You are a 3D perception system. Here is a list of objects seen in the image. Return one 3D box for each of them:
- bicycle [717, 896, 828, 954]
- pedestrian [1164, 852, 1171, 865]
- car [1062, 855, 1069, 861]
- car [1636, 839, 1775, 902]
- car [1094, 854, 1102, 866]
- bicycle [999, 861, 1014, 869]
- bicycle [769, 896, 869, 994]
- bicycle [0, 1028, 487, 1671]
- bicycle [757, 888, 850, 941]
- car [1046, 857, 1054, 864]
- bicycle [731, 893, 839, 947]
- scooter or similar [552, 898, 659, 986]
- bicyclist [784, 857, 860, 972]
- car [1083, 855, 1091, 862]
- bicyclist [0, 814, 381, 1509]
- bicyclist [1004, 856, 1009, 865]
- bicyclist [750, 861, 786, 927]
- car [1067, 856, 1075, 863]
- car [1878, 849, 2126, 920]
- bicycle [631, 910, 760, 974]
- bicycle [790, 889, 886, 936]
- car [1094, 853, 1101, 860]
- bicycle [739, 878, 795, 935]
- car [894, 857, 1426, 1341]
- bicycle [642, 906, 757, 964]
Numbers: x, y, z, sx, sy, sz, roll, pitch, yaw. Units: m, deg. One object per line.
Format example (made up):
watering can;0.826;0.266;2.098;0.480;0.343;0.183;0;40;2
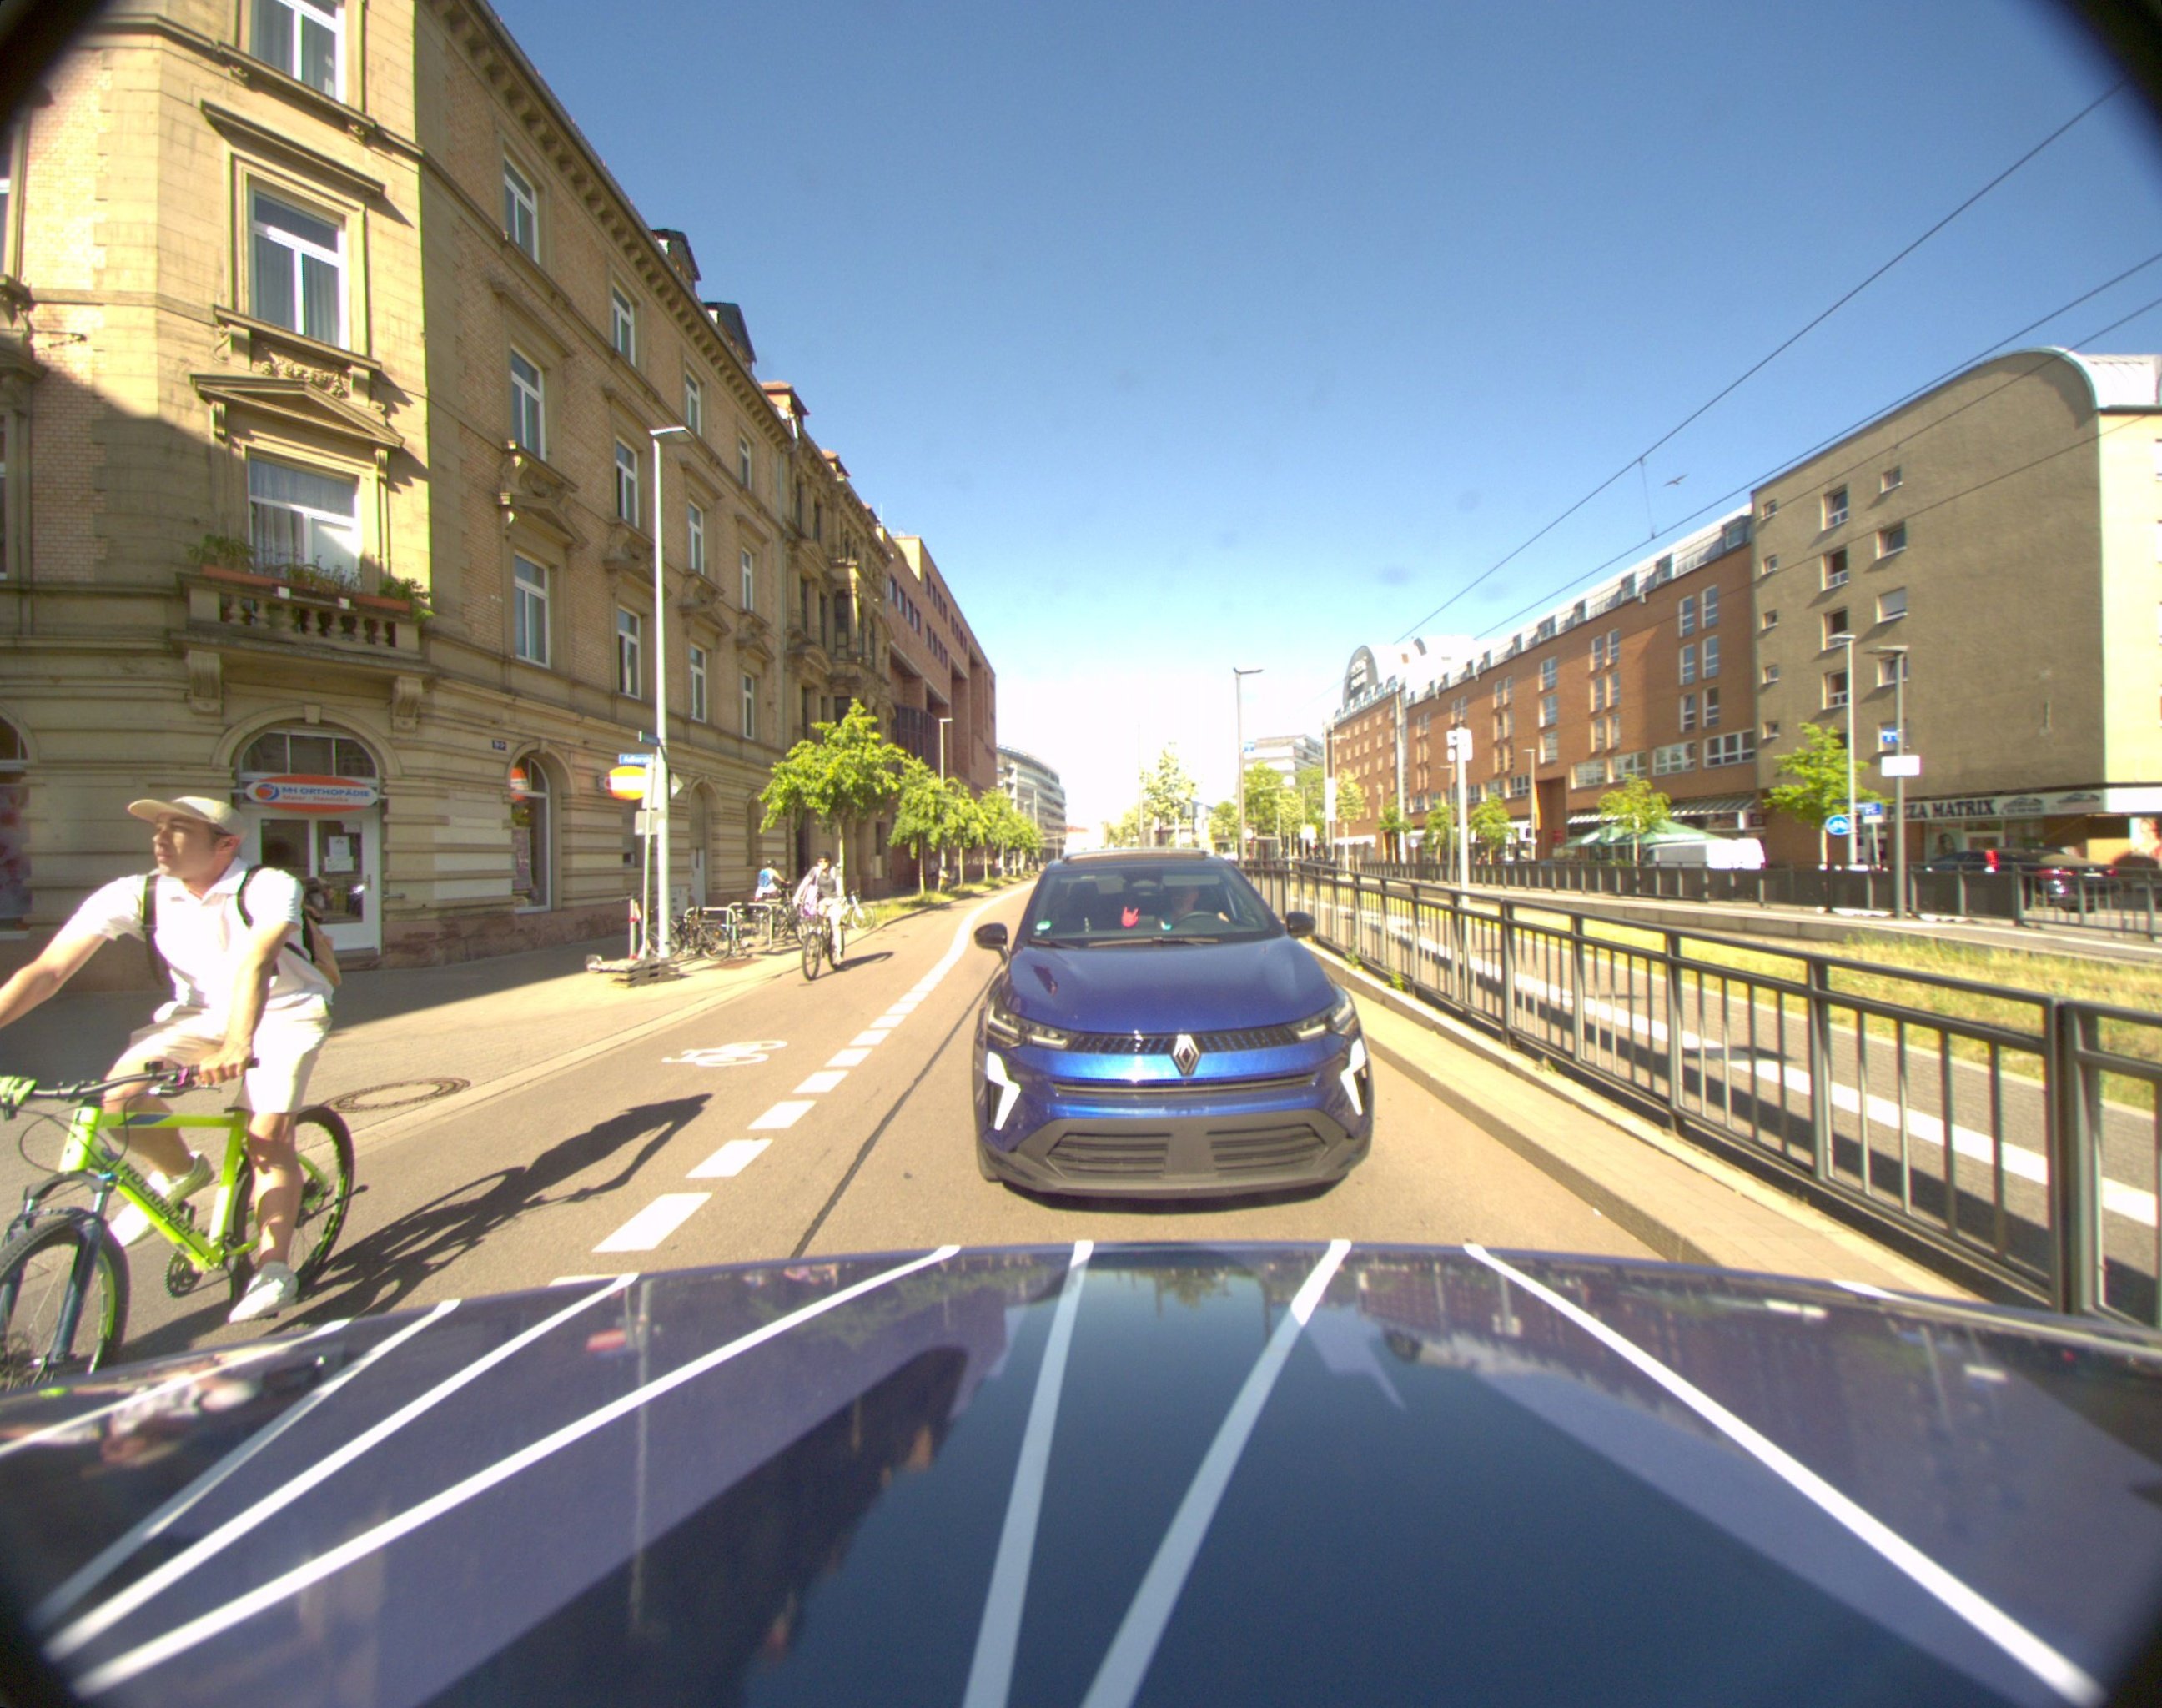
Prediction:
bicycle;-5.938;1.367;14.710;1.876;1.043;0.608;1;1;-4
pedestrian;11.757;0.615;103.545;0.743;1.878;0.600;-1;1;-22
car;-3.870;1.005;189.572;1.745;1.543;4.000;-1;0;1
car;25.336;0.576;31.103;1.997;2.283;5.192;-2;1;9
car;3.549;1.218;159.103;1.758;2.471;4.610;-2;0;1
bicycle;-11.984;1.749;121.984;2.275;1.118;0.850;-2;0;-3
bicycle;-3.778;1.272;11.148;0.725;1.187;1.952;-2;0;1
bicycle;-2.871;1.288;2.394;0.726;1.000;1.950;-2;0;-11
bicycle;-6.312;1.361;17.370;1.678;1.055;1.134;3;1;-1
car;-7.069;1.395;174.237;1.745;1.543;4.000;-1;0;0
bicycle;-6.272;1.387;16.224;1.903;1.024;1.030;1;1;-2
scooter or similar;-6.851;1.262;10.983;1.199;1.191;0.487;-1;0;-4
bicyclist;-3.793;0.859;11.183;0.725;1.595;0.895;-2;0;1
car;1.312;1.095;172.306;1.745;1.543;4.000;-1;0;1
bicyclist;-2.864;0.745;2.245;0.701;1.647;0.976;-2;0;-10
bicyclist;-11.960;1.038;121.978;0.859;1.413;0.839;-2;0;-3
bicyclist;-7.851;0.987;19.083;0.579;1.608;0.794;-1;1;-2
car;-2.209;1.217;173.699;1.745;1.543;4.000;-1;0;1
car;24.211;0.711;20.238;1.699;1.630;3.999;-2;1;-1
bicycle;-6.332;1.433;12.499;1.905;0.906;0.592;1;2;9
bicycle;-5.983;1.428;18.772;2.062;1.036;0.847;2;1;0
car;4.020;0.578;186.340;1.745;1.543;4.000;-1;0;0
bicycle;-7.853;1.281;19.088;0.579;1.246;2.097;-1;1;-2
car;0.306;0.870;4.859;1.758;1.576;4.420;-4;0;1
bicycle;-6.581;1.396;13.132;1.717;0.920;0.497;-1;1;1
